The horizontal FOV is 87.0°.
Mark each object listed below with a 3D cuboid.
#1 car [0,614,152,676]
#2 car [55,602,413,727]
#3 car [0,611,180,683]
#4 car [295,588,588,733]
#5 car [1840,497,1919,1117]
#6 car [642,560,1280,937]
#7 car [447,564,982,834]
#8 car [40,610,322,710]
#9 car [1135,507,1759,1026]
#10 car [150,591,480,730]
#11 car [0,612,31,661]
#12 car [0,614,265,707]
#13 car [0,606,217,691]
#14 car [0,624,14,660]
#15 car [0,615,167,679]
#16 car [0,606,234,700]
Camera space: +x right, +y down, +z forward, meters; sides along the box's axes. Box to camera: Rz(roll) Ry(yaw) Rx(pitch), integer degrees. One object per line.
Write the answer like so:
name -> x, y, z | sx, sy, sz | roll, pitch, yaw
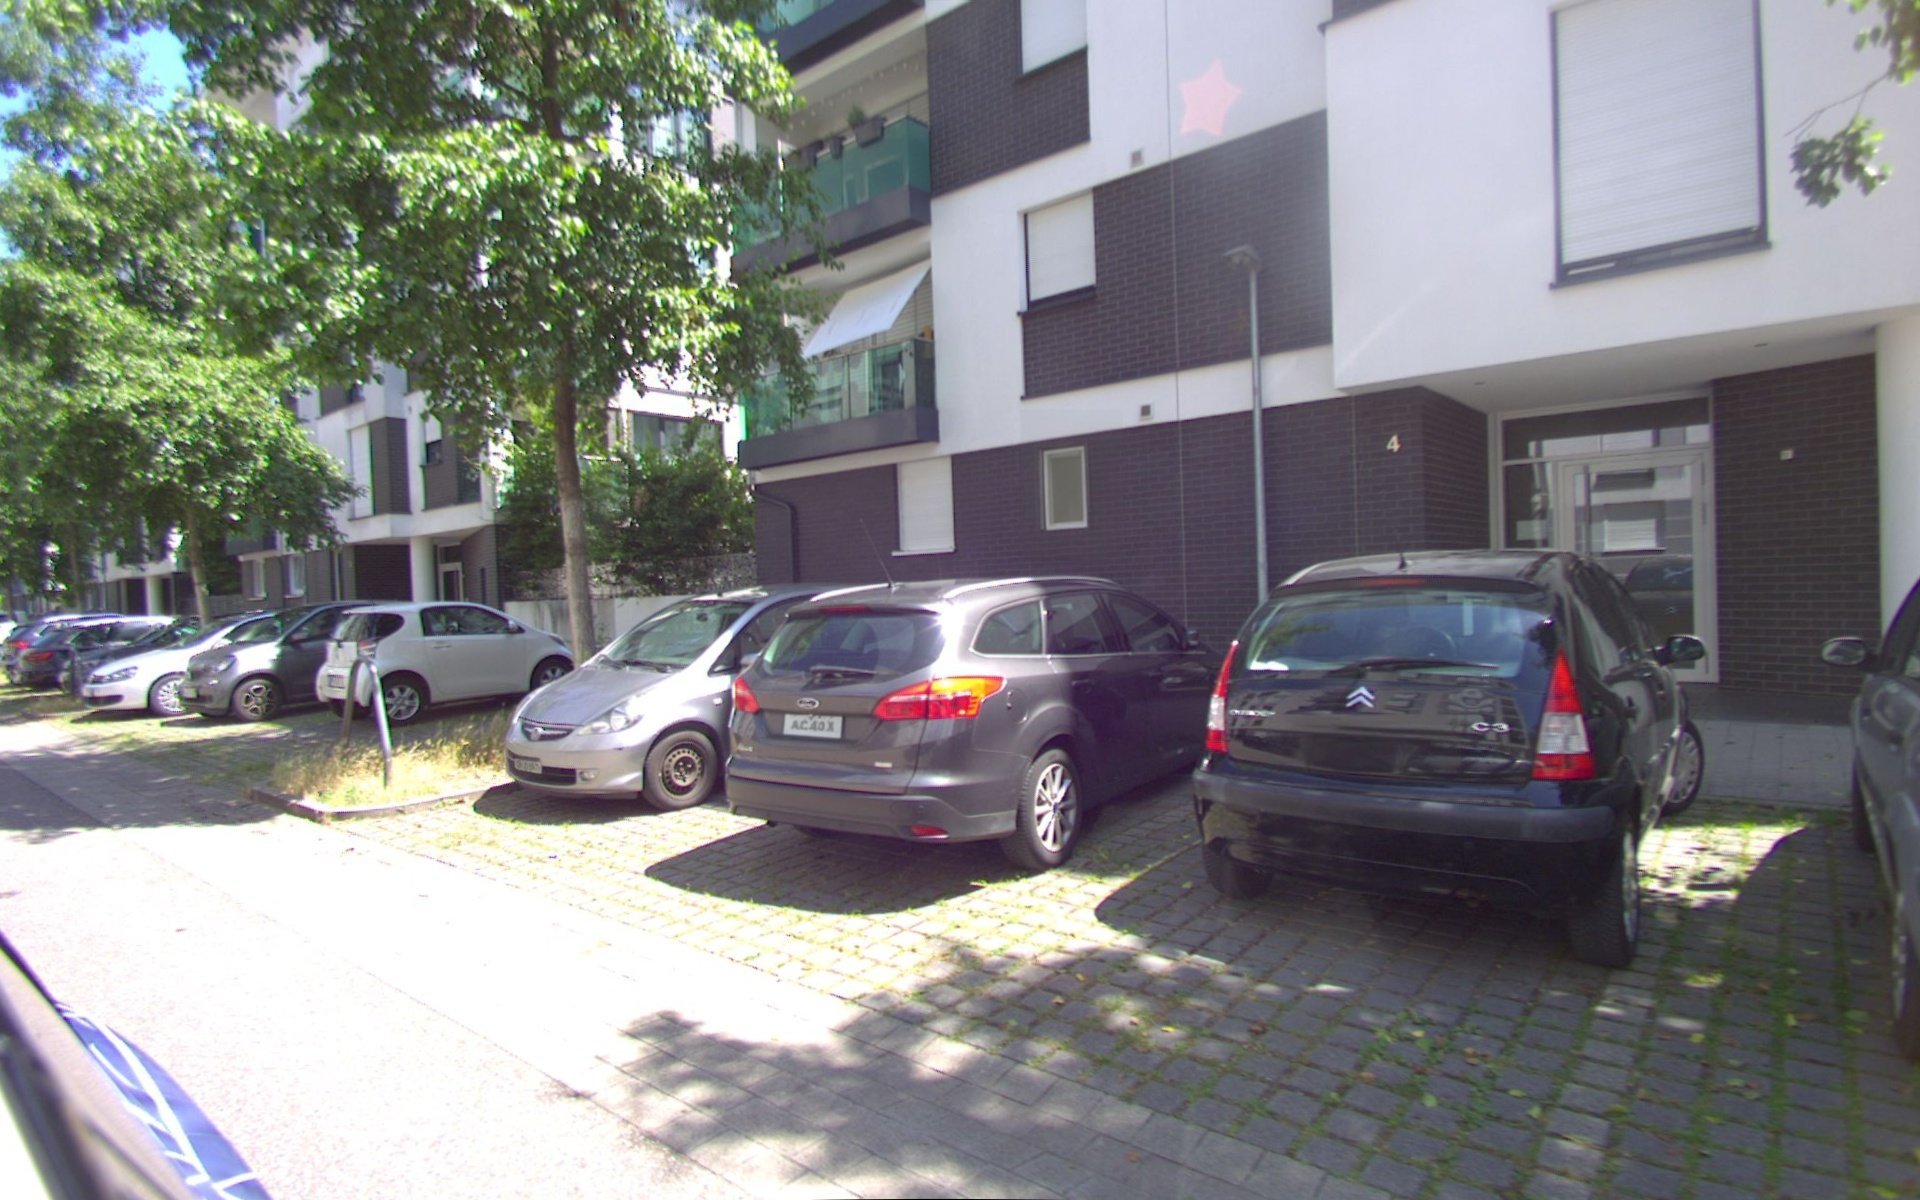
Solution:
car -> -27.849, 1.384, 31.201 | 1.923, 1.528, 4.211 | -2, 3, 39
car -> -11.514, 0.926, 16.312 | 1.997, 1.723, 4.319 | -2, -1, 37
car -> -24.159, 1.255, 27.818 | 1.882, 1.603, 3.947 | -2, 2, 40
car -> -6.825, 0.714, 13.486 | 1.846, 1.511, 2.905 | -2, 3, 39
car -> 4.155, 0.394, 3.292 | 1.830, 1.532, 3.594 | -2, 2, 40
car -> 0.355, 0.549, 6.406 | 1.955, 1.497, 4.143 | 0, 2, 36
car -> -1.786, 0.583, 8.356 | 1.870, 1.565, 3.899 | -2, 2, 39
car -> -14.825, 1.065, 19.419 | 1.896, 1.432, 3.947 | -2, 2, 41
car -> 2.736, 0.485, 5.135 | 1.800, 1.566, 3.945 | -2, 0, 42
car -> -9.427, 0.787, 15.050 | 1.816, 1.597, 3.677 | -2, 2, 35
car -> -44.931, 1.726, 44.893 | 2.186, 2.126, 5.286 | -2, 0, 42
car -> -16.909, 1.154, 20.783 | 1.772, 1.456, 3.940 | -2, 2, 36
car -> -20.617, 1.097, 24.408 | 1.932, 1.641, 3.948 | -2, 2, 40
car -> -42.849, 1.921, 43.018 | 1.676, 1.492, 3.588 | -2, 2, 39
car -> -26.068, 1.355, 29.520 | 1.791, 1.486, 4.274 | -2, 2, 40
car -> -18.852, 1.109, 22.582 | 1.917, 1.663, 3.946 | -2, 2, 42
